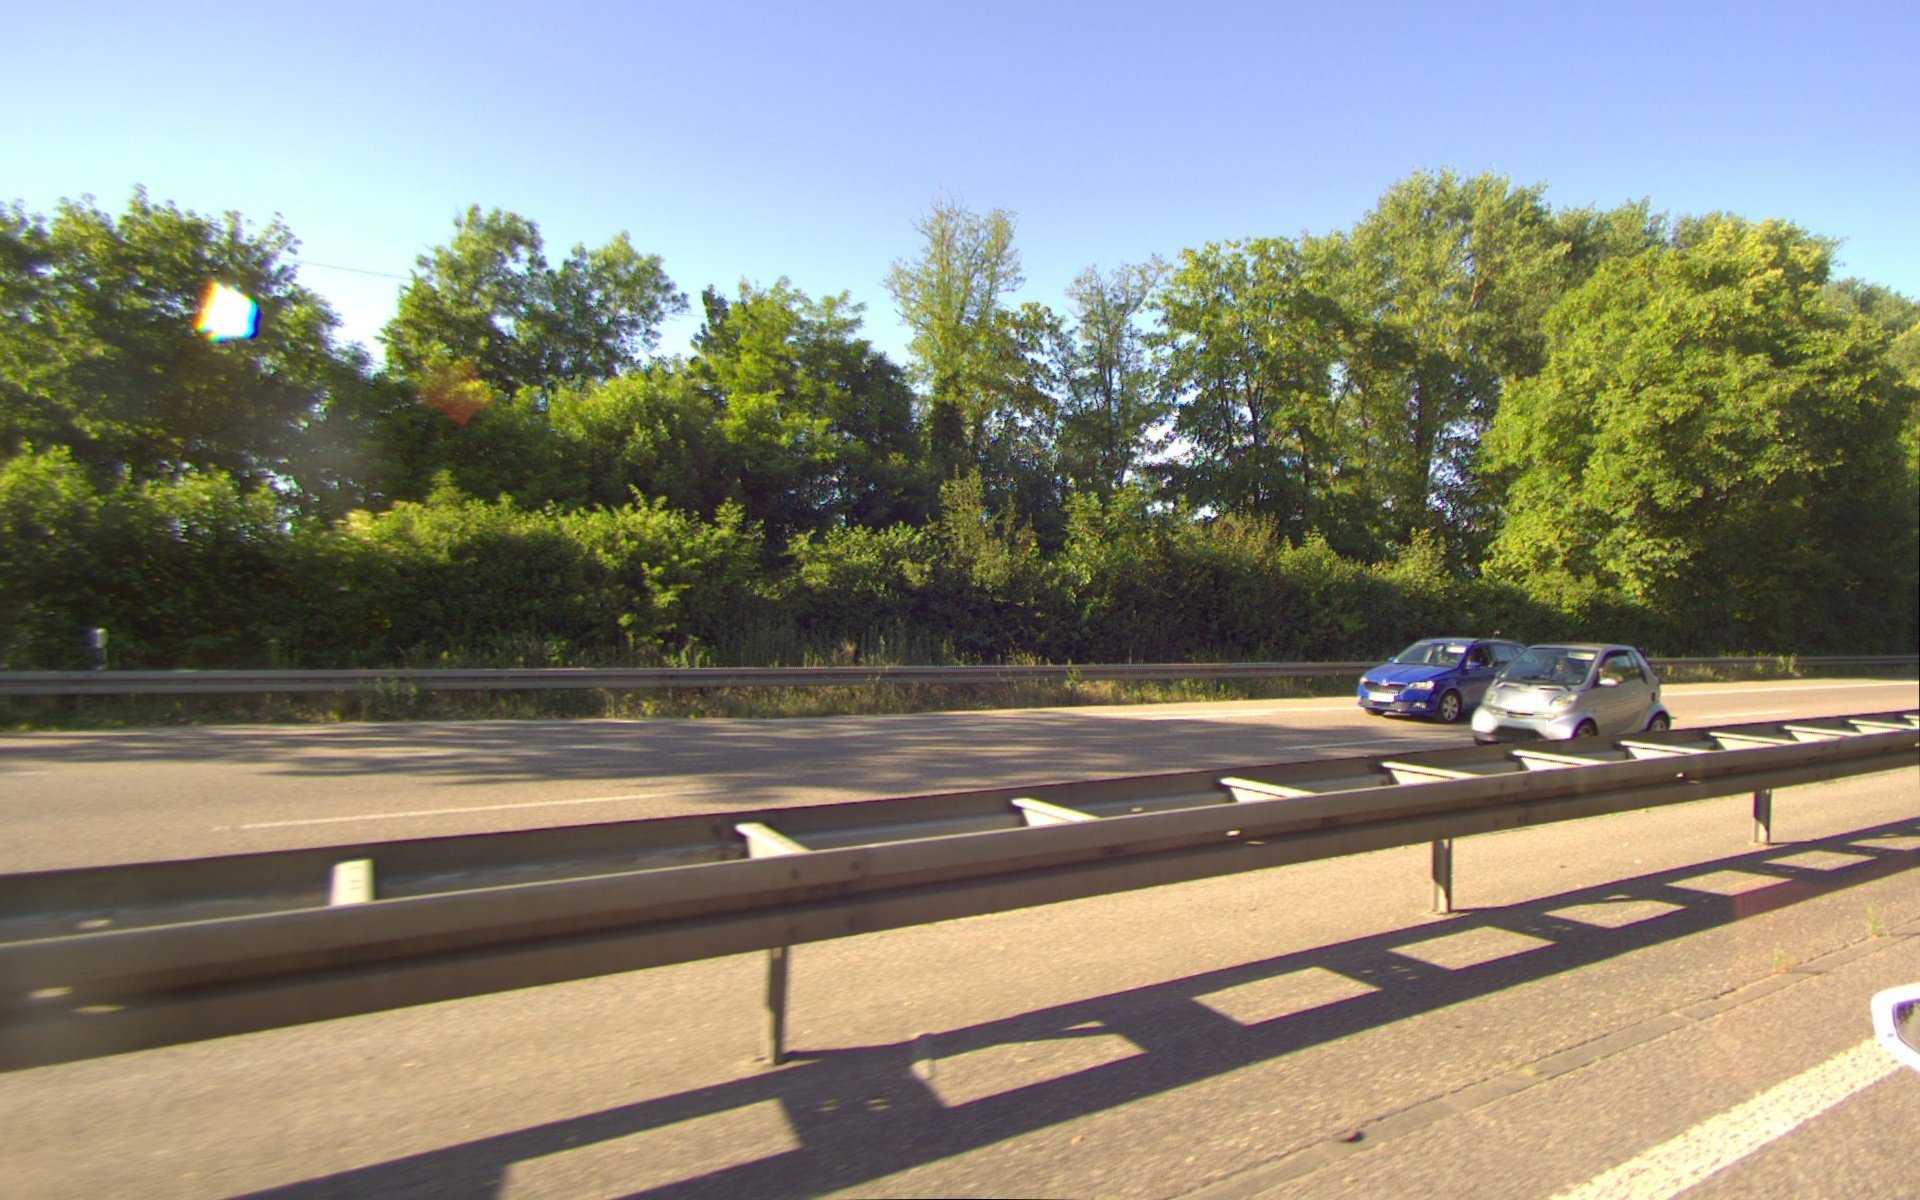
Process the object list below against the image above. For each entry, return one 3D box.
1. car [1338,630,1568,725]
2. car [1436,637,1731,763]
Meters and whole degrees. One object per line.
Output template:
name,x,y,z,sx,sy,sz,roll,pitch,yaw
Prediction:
car,9.407,1.395,19.093,4.379,1.561,1.827,1,0,-31
car,9.172,1.348,14.694,4.413,1.561,1.868,1,-1,-31
